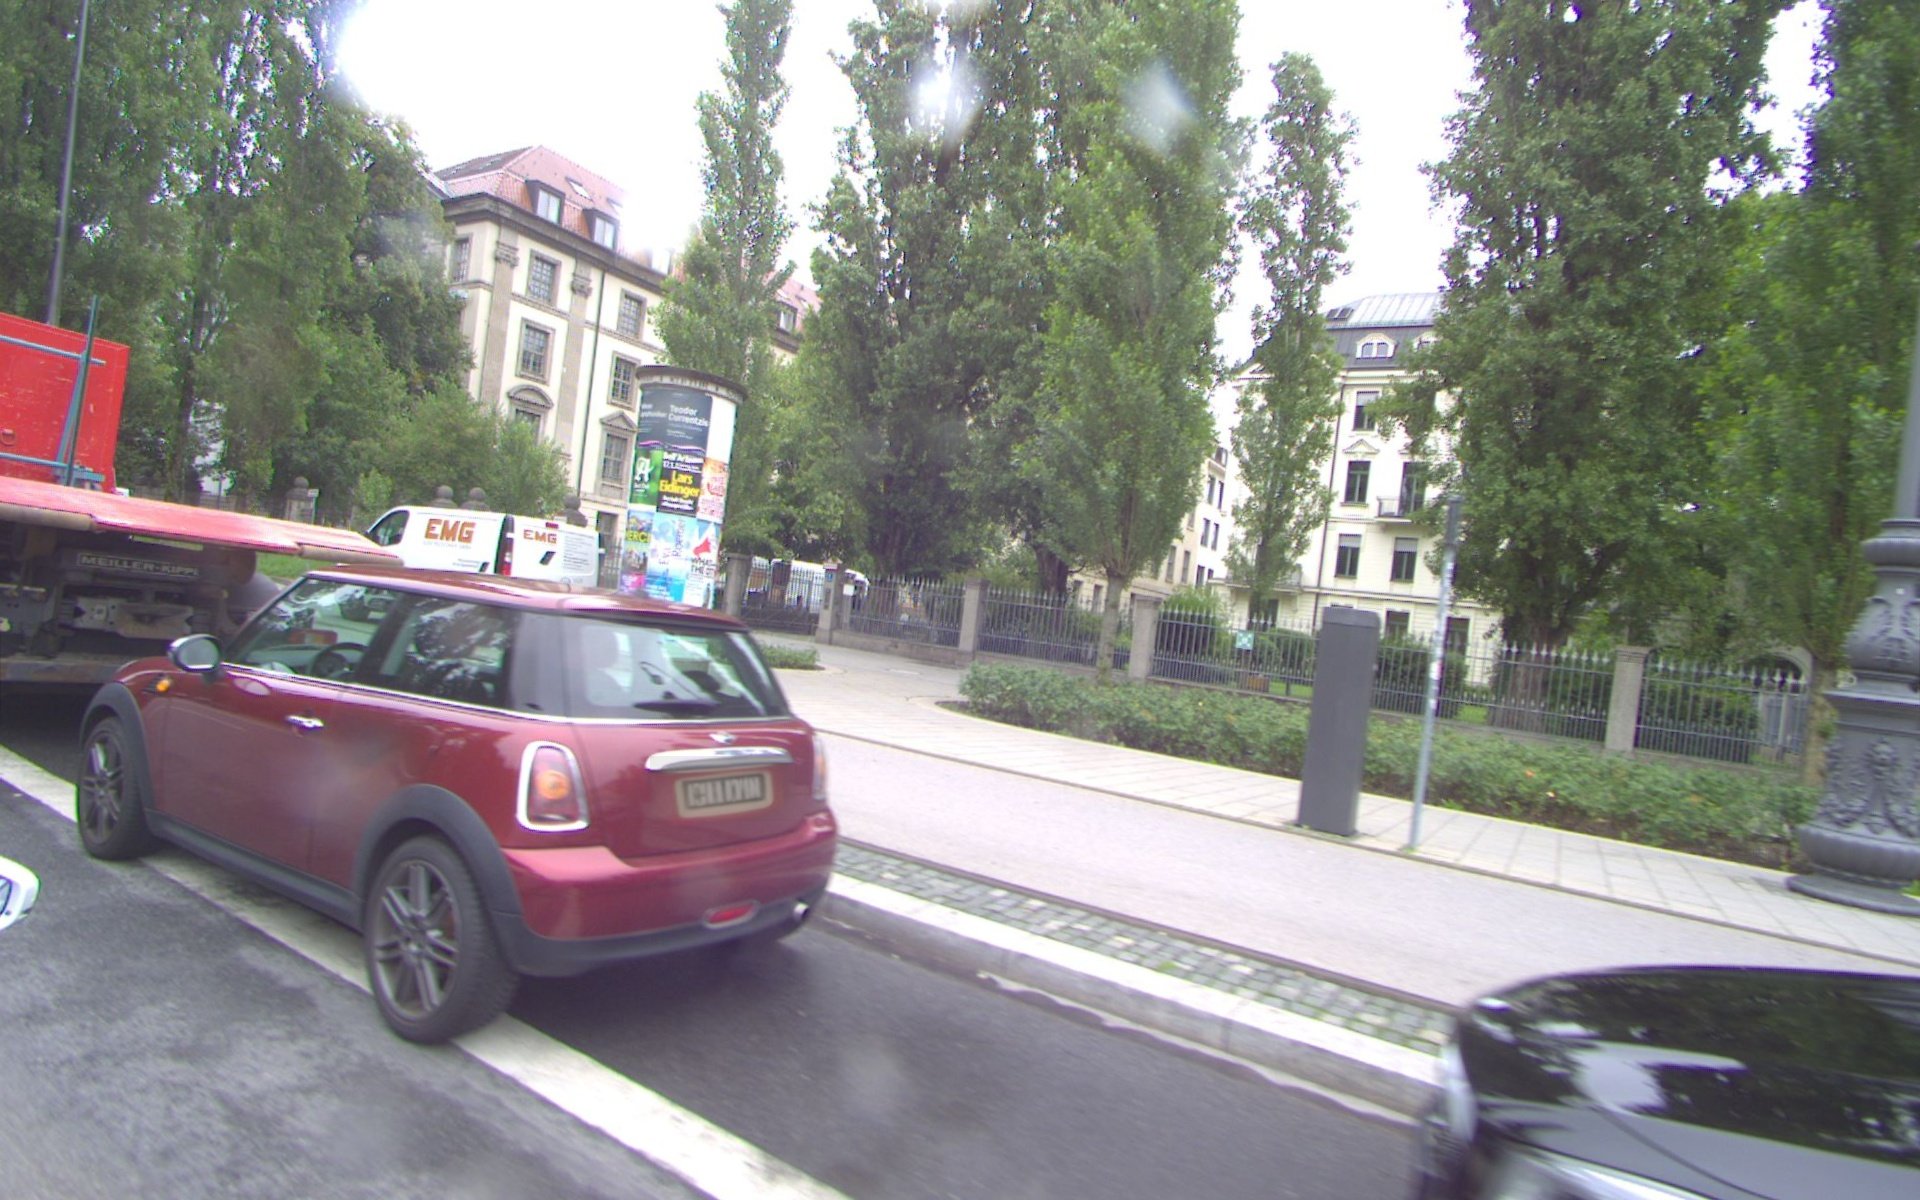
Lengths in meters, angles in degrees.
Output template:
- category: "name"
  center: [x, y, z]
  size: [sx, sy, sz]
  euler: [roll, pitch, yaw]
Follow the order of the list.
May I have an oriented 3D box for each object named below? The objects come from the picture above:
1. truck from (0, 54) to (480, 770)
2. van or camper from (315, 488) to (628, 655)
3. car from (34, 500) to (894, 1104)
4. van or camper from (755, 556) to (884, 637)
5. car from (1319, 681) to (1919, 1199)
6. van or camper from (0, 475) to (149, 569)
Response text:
- category: "truck"
  center: [-8.664, -1.325, 8.684]
  size: [10.108, 3.607, 2.850]
  euler: [7, -1, 32]
- category: "van or camper"
  center: [-7.921, -0.492, 16.183]
  size: [4.903, 2.037, 2.007]
  euler: [7, -1, 31]
- category: "car"
  center: [-2.269, 0.518, 4.354]
  size: [3.592, 1.487, 1.563]
  euler: [7, 0, 32]
- category: "van or camper"
  center: [-5.705, -0.072, 41.633]
  size: [2.212, 2.739, 5.215]
  euler: [7, 0, 32]
- category: "car"
  center: [2.914, 1.119, 1.276]
  size: [4.365, 1.408, 1.844]
  euler: [7, 0, 32]
- category: "van or camper"
  center: [-23.888, -2.110, 26.748]
  size: [4.955, 1.956, 1.979]
  euler: [7, -1, 32]
